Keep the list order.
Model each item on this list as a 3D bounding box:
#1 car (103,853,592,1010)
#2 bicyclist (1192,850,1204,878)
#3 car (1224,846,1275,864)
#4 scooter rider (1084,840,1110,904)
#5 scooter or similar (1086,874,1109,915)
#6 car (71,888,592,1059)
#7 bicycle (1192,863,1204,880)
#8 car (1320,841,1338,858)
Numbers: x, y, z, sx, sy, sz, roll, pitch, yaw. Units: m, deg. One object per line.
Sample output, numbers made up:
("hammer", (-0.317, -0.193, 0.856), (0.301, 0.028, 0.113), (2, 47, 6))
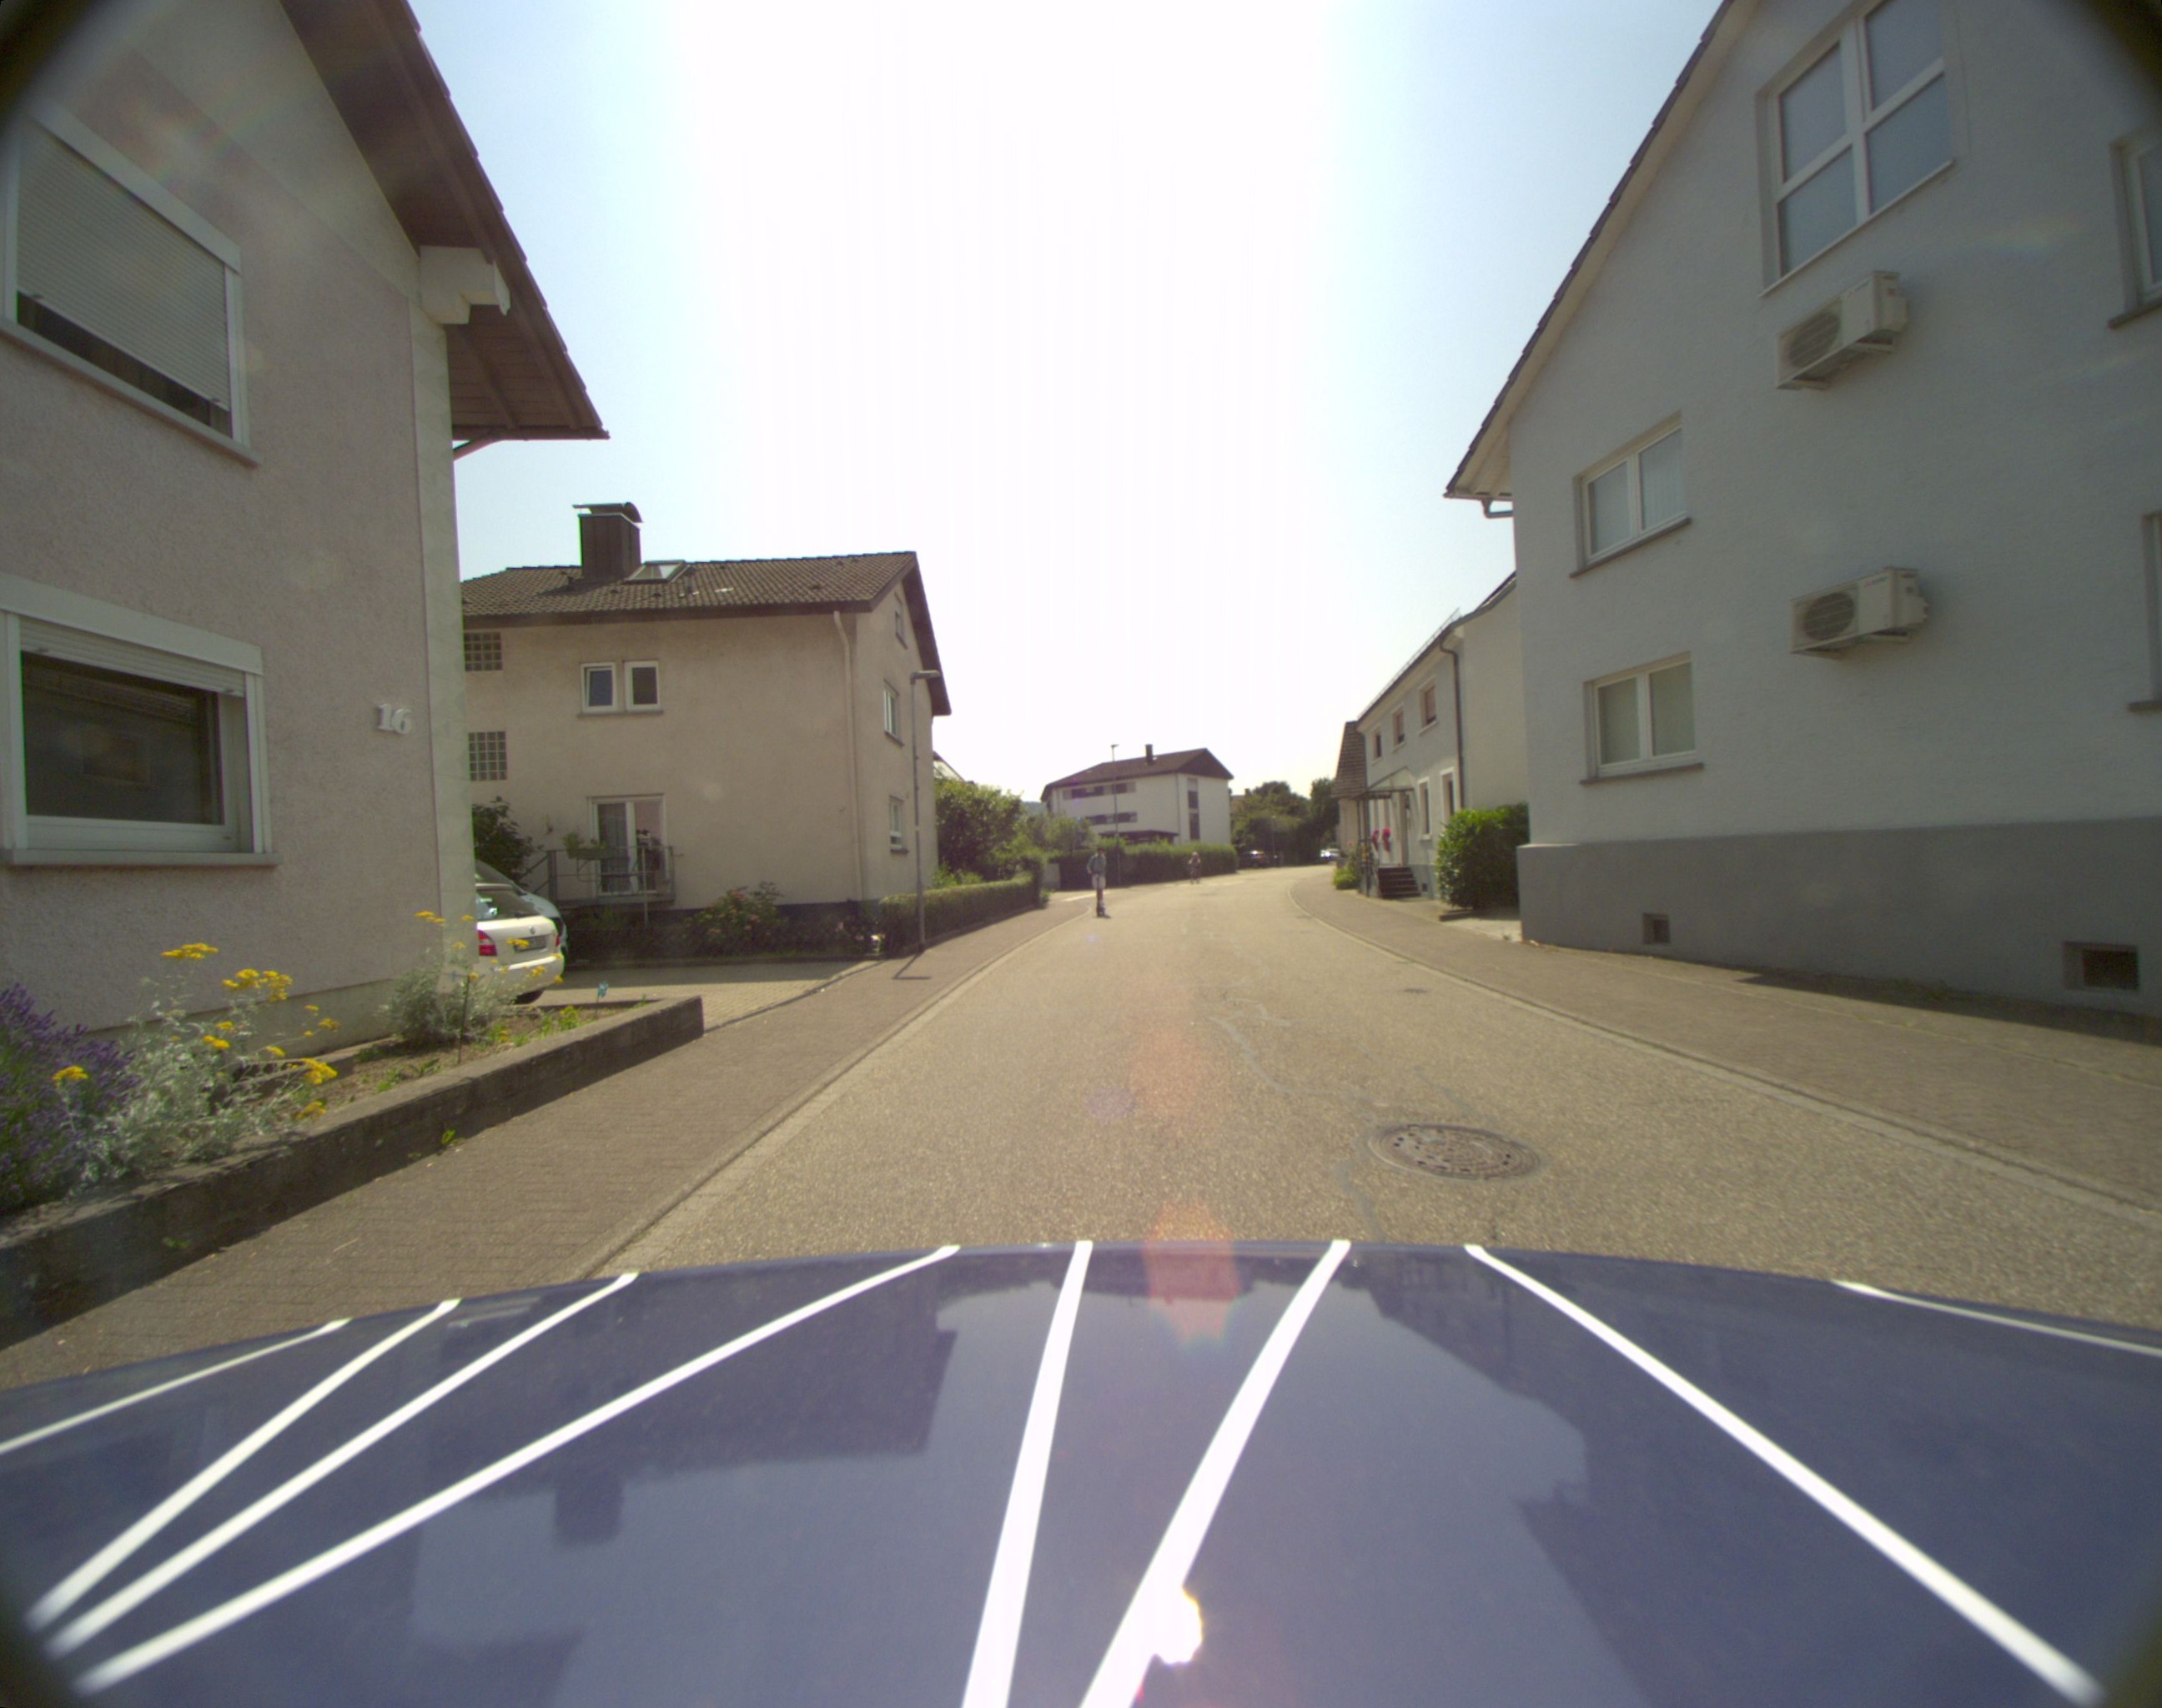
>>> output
("car", (-10.234, 1.023, 10.950), (4.992, 1.901, 2.056), (-2, 0, 0))
("bicyclist", (6.366, 0.515, 41.394), (0.546, 1.481, 0.797), (-2, 1, 13))
("car", (16.110, 0.077, 72.499), (4.281, 1.662, 2.069), (-1, 1, 31))
("scooter rider", (0.431, 0.488, 21.129), (0.617, 1.714, 0.640), (-2, 1, -3))
("scooter or similar", (0.449, 1.112, 21.129), (0.543, 1.083, 0.691), (-3, 0, -3))
("car", (-7.773, 1.181, 8.239), (3.759, 1.452, 1.680), (-2, 0, -6))
("bicycle", (6.390, 0.938, 41.439), (0.521, 0.898, 1.314), (-2, 0, 13))
("car", (29.435, -0.545, 90.066), (1.778, 1.830, 3.907), (-1, 0, 22))
